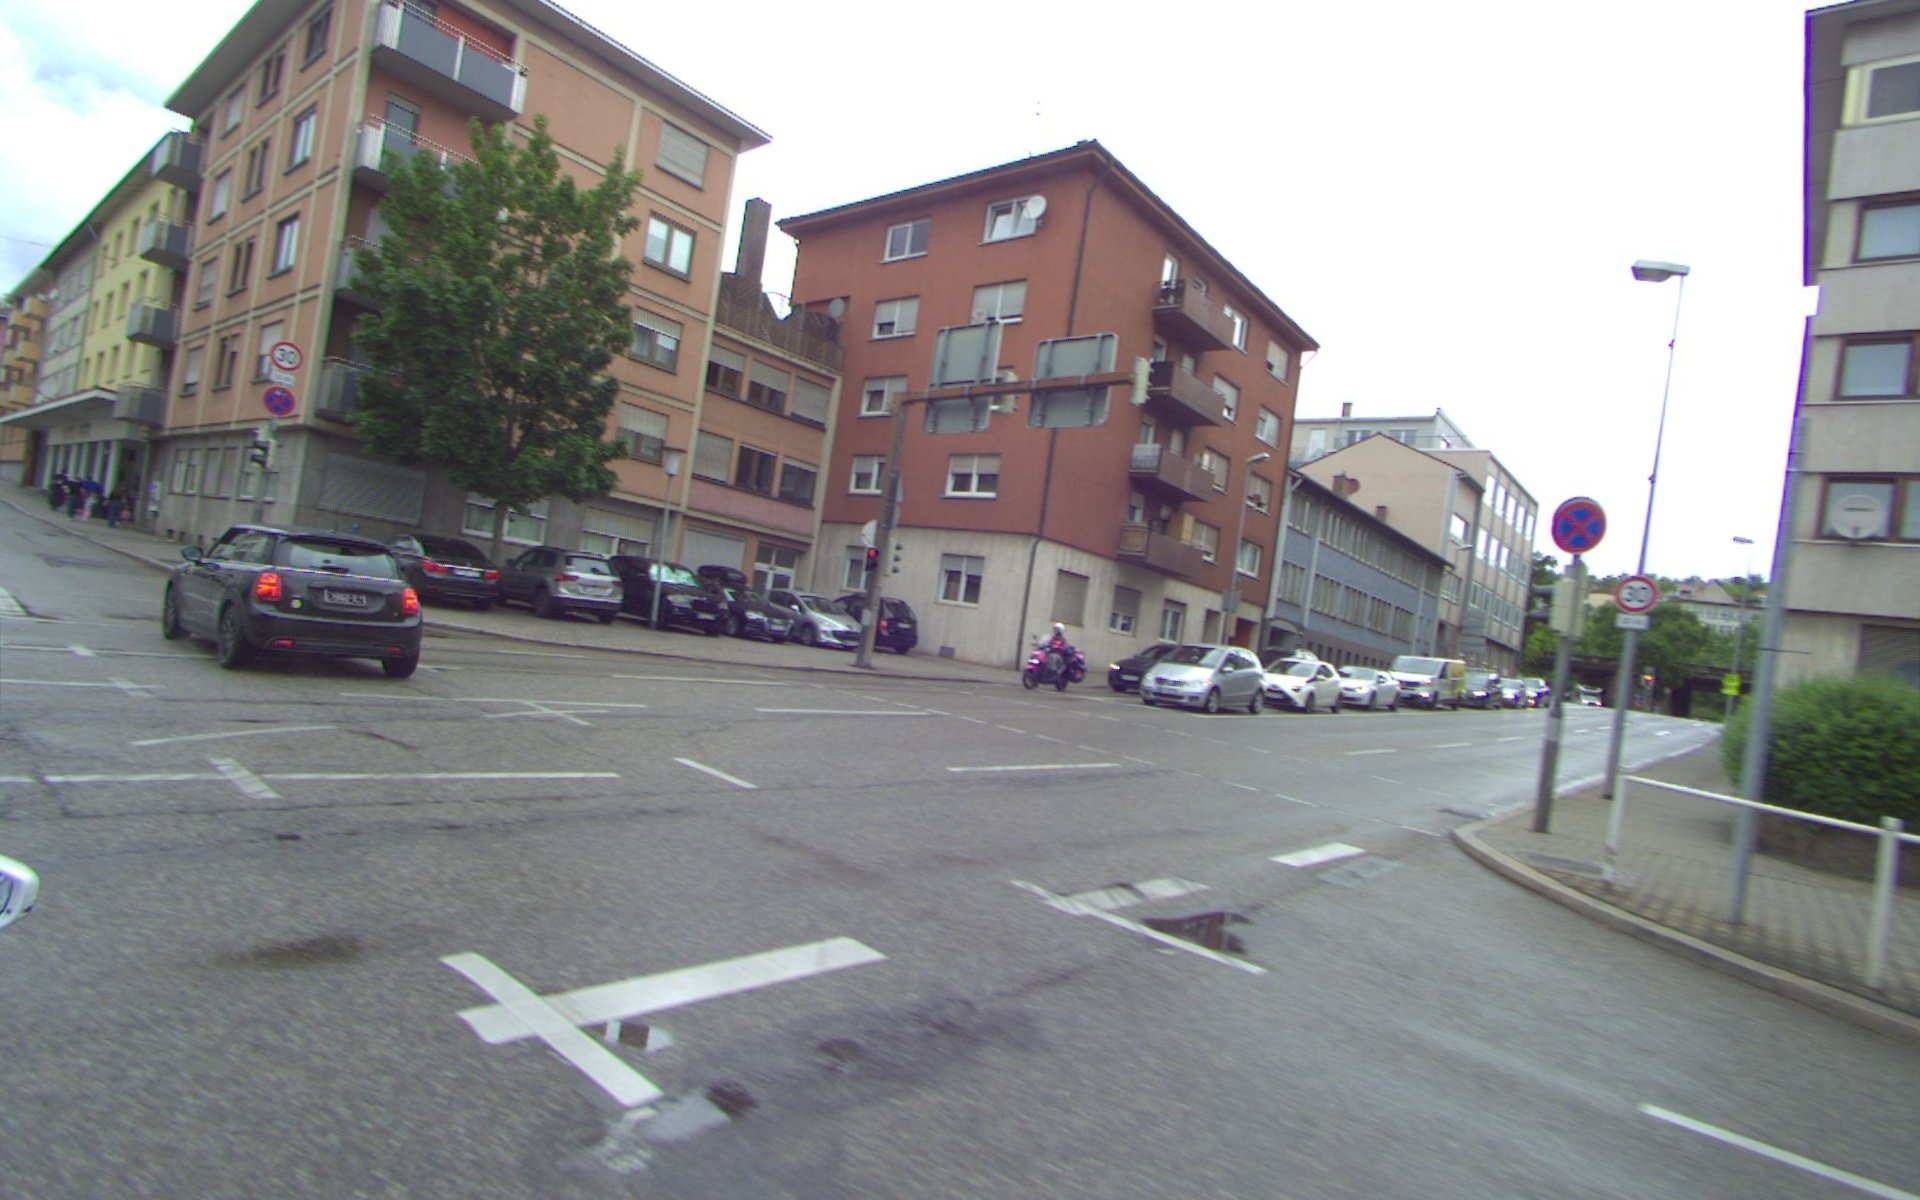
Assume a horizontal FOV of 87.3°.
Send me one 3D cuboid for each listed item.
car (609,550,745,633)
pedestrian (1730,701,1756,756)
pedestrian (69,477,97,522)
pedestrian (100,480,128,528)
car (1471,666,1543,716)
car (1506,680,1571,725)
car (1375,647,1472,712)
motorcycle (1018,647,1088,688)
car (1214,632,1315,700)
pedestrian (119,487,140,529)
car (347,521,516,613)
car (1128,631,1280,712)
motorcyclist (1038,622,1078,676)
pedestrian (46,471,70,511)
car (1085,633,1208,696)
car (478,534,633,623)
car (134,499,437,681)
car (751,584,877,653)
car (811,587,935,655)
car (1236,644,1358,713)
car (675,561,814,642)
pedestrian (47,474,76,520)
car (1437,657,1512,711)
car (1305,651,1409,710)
[{"bbox_3d":[-7.502,-0.265,26.453,1.977,1.740,3.959,7,-1,-37],"label":"car"},{"bbox_3d":[25.737,4.240,33.070,0.528,1.719,0.503,6,-3,36],"label":"pedestrian"},{"bbox_3d":[-32.552,-3.721,37.344,0.561,1.536,0.520,12,1,42],"label":"pedestrian"},{"bbox_3d":[-30.367,-3.447,36.116,0.550,1.584,0.479,12,1,42],"label":"pedestrian"},{"bbox_3d":[26.659,4.451,48.943,1.890,1.879,4.836,6,-4,42],"label":"car"},{"bbox_3d":[30.713,5.474,53.304,1.890,1.879,4.836,6,-4,42],"label":"car"},{"bbox_3d":[18.016,3.121,38.986,1.917,1.937,4.836,6,-4,42],"label":"car"},{"bbox_3d":[2.348,1.693,25.092,0.627,0.938,2.358,5,-1,34],"label":"motorcycle"},{"bbox_3d":[10.388,2.265,34.137,1.769,1.746,3.989,6,-4,39],"label":"car"},{"bbox_3d":[-30.102,-3.338,36.452,0.364,1.415,0.363,12,1,42],"label":"pedestrian"},{"bbox_3d":[-12.100,-0.792,22.884,4.731,1.573,1.841,7,-1,43],"label":"car"},{"bbox_3d":[5.959,1.767,24.321,1.815,1.573,3.983,7,-1,41],"label":"car"},{"bbox_3d":[2.450,1.223,25.125,0.644,1.239,0.656,7,1,34],"label":"motorcyclist"},{"bbox_3d":[-37.983,-4.580,42.361,0.561,1.574,0.520,12,1,42],"label":"pedestrian"},{"bbox_3d":[5.476,1.895,29.202,1.847,1.459,3.988,6,-1,36],"label":"car"},{"bbox_3d":[-9.913,-0.552,24.508,3.948,1.680,1.982,7,-1,45],"label":"car"},{"bbox_3d":[-7.527,-0.169,11.073,4.013,1.438,1.659,8,0,41],"label":"car"},{"bbox_3d":[-4.394,0.520,29.948,1.664,1.599,3.955,11,-4,-41],"label":"car"},{"bbox_3d":[-2.860,0.650,32.420,1.985,1.724,3.961,10,-4,-37],"label":"car"},{"bbox_3d":[9.677,2.280,28.728,1.824,1.573,3.984,7,-1,40],"label":"car"},{"bbox_3d":[-6.134,0.024,28.438,3.948,1.717,1.792,7,-2,45],"label":"car"},{"bbox_3d":[-32.998,-3.787,36.944,0.561,1.556,0.520,12,1,42],"label":"pedestrian"},{"bbox_3d":[22.551,3.690,44.015,1.703,1.879,4.333,6,-3,42],"label":"car"},{"bbox_3d":[13.223,2.694,33.385,1.824,1.573,3.982,7,-1,42],"label":"car"}]
